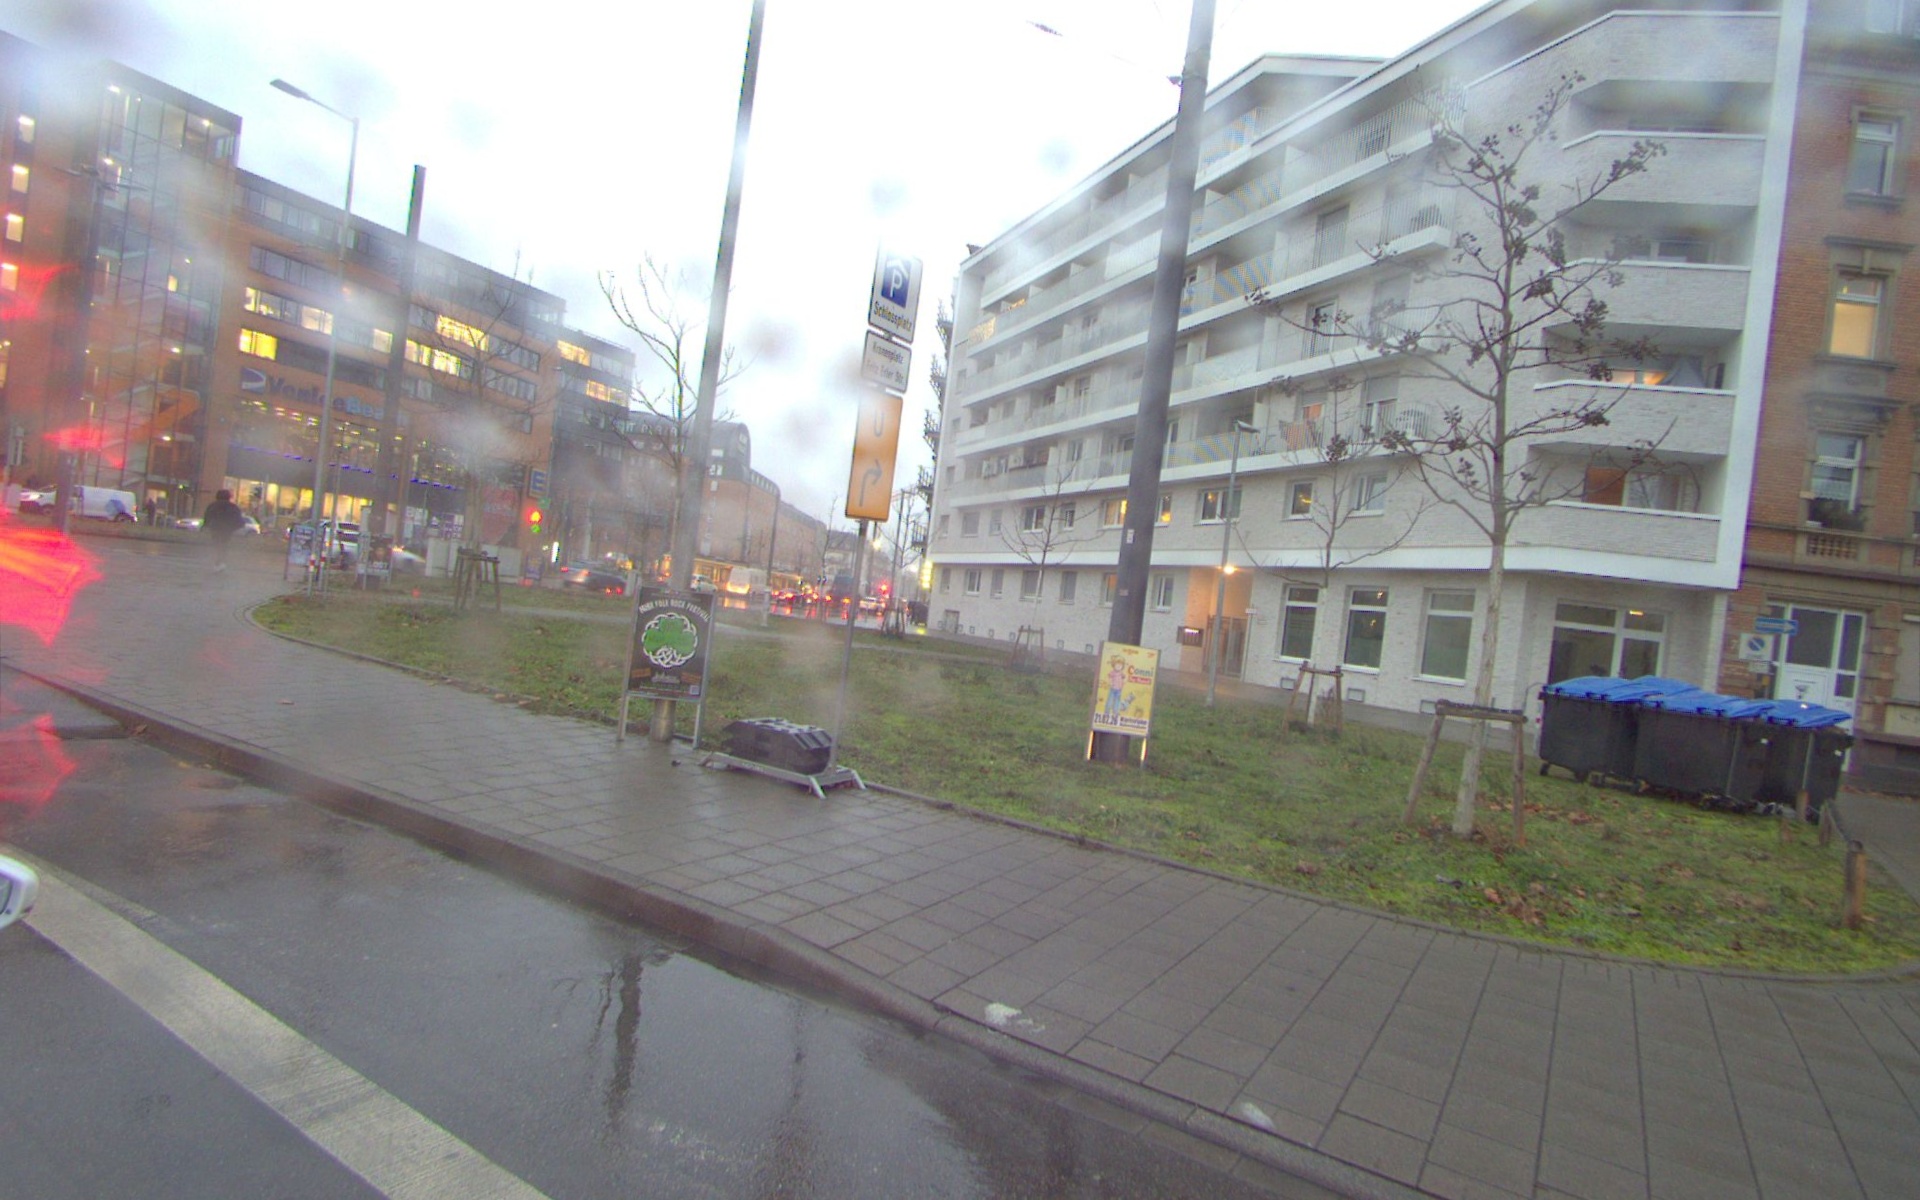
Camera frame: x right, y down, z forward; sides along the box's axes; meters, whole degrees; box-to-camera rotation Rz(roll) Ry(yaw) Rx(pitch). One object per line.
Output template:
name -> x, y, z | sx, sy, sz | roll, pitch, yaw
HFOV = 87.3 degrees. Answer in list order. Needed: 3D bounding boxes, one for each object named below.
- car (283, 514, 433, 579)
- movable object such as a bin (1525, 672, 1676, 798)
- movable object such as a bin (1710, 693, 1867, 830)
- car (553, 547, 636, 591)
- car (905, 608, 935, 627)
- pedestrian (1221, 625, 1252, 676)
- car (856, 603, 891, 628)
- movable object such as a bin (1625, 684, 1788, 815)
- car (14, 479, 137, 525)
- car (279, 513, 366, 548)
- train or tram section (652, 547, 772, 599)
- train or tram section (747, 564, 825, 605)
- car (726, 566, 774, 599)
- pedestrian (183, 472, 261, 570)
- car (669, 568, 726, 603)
car -> -23.102, -2.005, 38.847 | 1.798, 1.873, 4.682 | 6, -1, 23
movable object such as a bin -> 9.028, 1.882, 14.233 | 1.016, 1.513, 1.324 | 7, 0, -19
movable object such as a bin -> 10.732, 2.071, 13.065 | 1.021, 1.507, 1.039 | 9, -2, -12
car -> -19.773, -1.674, 54.623 | 1.963, 1.898, 3.998 | 8, 1, 21
car -> -4.496, 1.943, 113.811 | 1.962, 1.600, 4.094 | 8, -3, 16
pedestrian -> 10.087, 1.837, 36.688 | 0.670, 1.733, 0.601 | 9, -1, -29
car -> -9.076, 1.648, 106.009 | 1.962, 2.036, 4.376 | 8, -2, 16
movable object such as a bin -> 9.584, 1.905, 12.965 | 1.003, 1.434, 1.218 | 6, 1, -21
car -> -46.233, -5.109, 52.685 | 1.767, 1.614, 4.431 | 7, -1, 25
car -> -41.450, -4.492, 65.545 | 1.767, 1.553, 4.444 | 7, -1, 25
train or tram section -> -22.355, -2.279, 92.451 | 2.293, 3.300, 16.666 | 7, -1, 17
train or tram section -> -18.198, -1.493, 106.446 | 2.293, 3.300, 13.005 | 7, -1, 17
car -> -17.501, -1.417, 84.138 | 1.962, 2.036, 4.957 | 8, -2, 11
pedestrian -> -16.587, -1.757, 22.649 | 1.164, 1.946, 0.890 | 10, -2, -35
car -> -19.943, -1.072, 76.500 | 1.963, 2.036, 4.003 | 8, -2, 22
